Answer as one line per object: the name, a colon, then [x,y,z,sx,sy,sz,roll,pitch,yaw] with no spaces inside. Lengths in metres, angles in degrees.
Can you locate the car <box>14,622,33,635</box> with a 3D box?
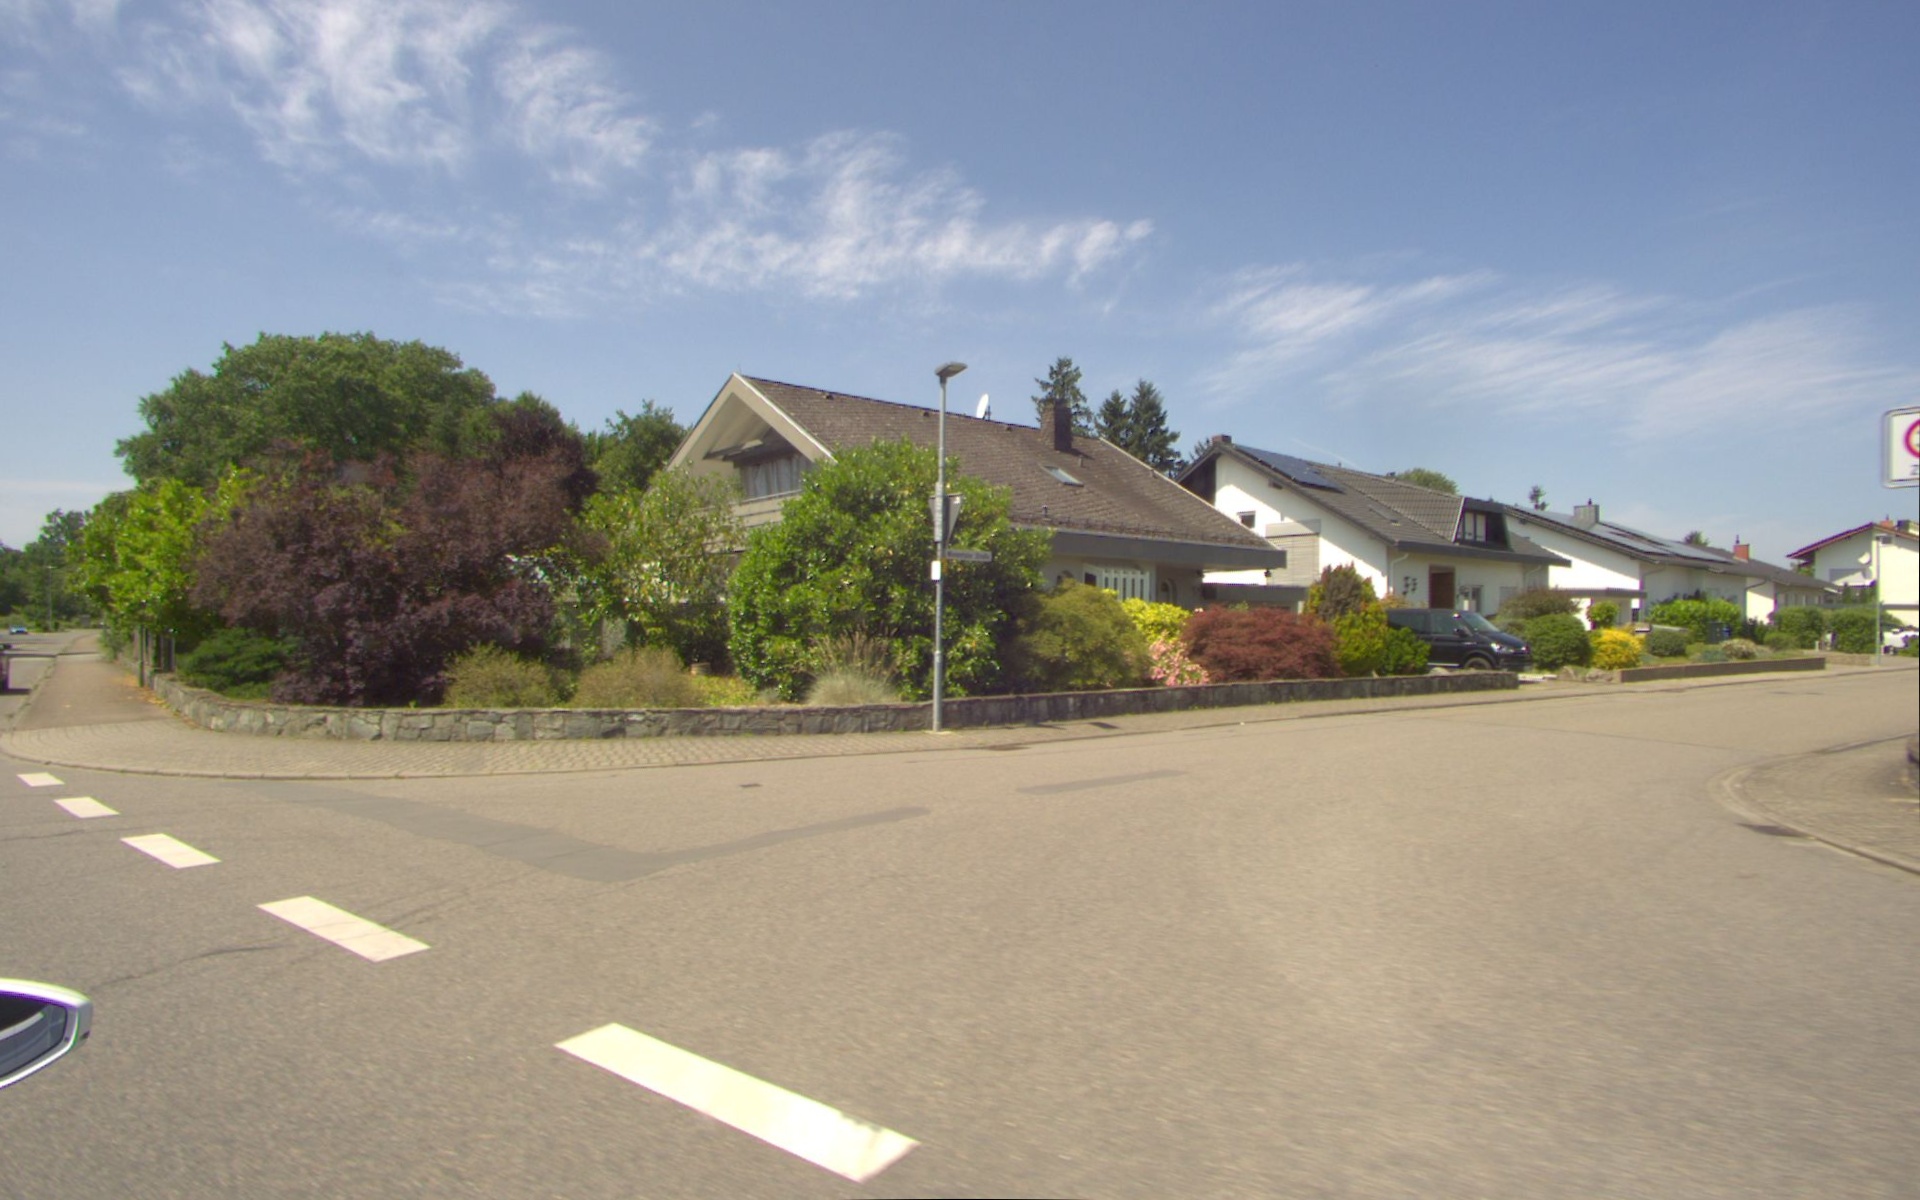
car: [-137.075,4.200,146.499,1.939,1.884,3.960,1,-1,-45]

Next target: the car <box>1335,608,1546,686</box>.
car: [13.110,1.234,27.588,1.907,1.940,4.924,1,-1,-40]

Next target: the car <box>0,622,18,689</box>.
car: [-25.170,1.384,25.309,1.749,1.638,3.967,2,-3,-40]
